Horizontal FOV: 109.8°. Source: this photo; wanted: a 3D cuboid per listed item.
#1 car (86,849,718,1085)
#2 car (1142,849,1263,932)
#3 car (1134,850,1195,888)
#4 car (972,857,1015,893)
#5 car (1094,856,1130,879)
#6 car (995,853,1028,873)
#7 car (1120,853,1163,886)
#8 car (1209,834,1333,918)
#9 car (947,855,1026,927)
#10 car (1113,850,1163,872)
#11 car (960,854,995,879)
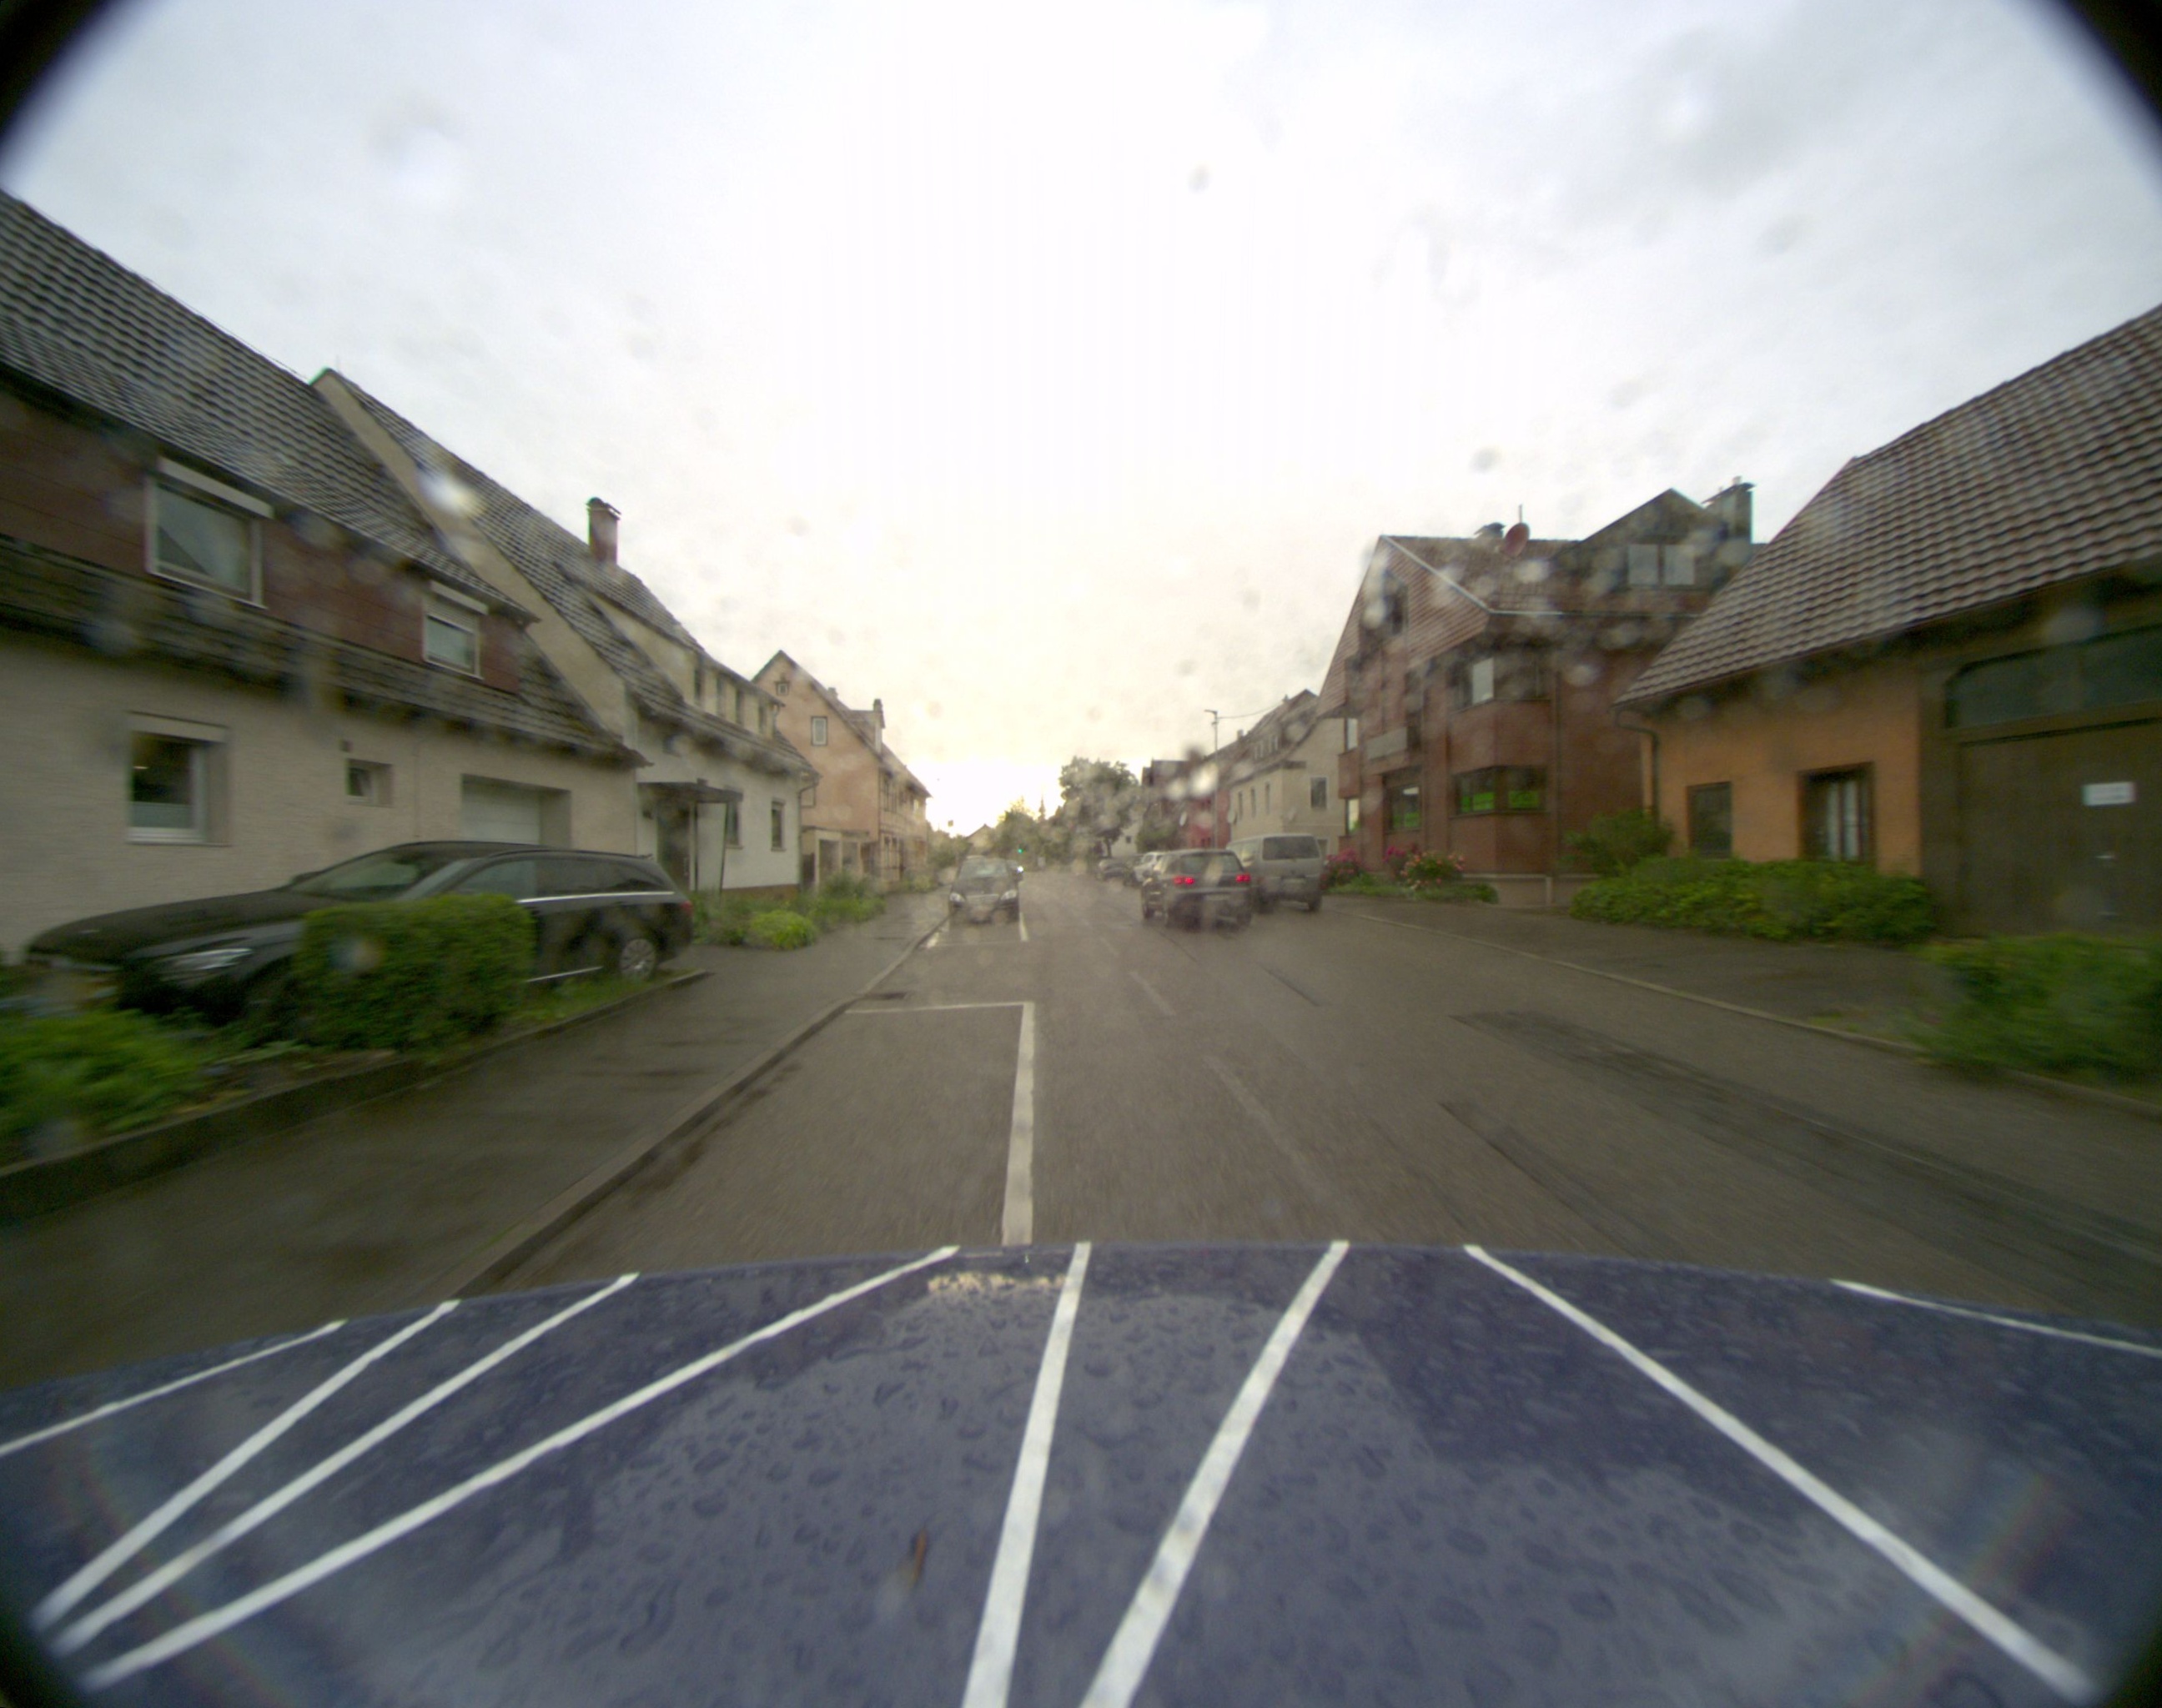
[{"bbox_3d":[-5.656,0.773,7.103,1.760,1.386,4.006,5,0,16],"label":"car"},{"bbox_3d":[2.577,0.711,17.061,1.803,1.630,3.998,-1,0,-5],"label":"car"},{"bbox_3d":[3.746,0.639,34.922,1.770,1.610,4.653,-1,0,-6],"label":"car"},{"bbox_3d":[-4.251,0.979,37.509,1.808,1.586,4.609,-2,1,-4],"label":"car"},{"bbox_3d":[1.981,0.827,49.424,1.631,1.348,4.108,-3,0,-7],"label":"car"},{"bbox_3d":[-5.958,0.782,64.933,1.919,1.652,3.993,0,0,-20],"label":"car"},{"bbox_3d":[3.111,0.787,39.590,1.610,1.608,3.274,-1,0,-7],"label":"car"},{"bbox_3d":[5.010,0.527,20.824,1.826,2.002,5.212,0,0,-3],"label":"car"},{"bbox_3d":[-2.442,0.901,20.394,1.754,1.700,3.999,-1,0,-2],"label":"car"},{"bbox_3d":[4.320,0.520,58.144,3.585,1.497,1.855,-3,0,-3],"label":"car"},{"bbox_3d":[-8.542,0.966,62.288,1.938,1.891,4.786,-3,1,-18],"label":"car"}]
